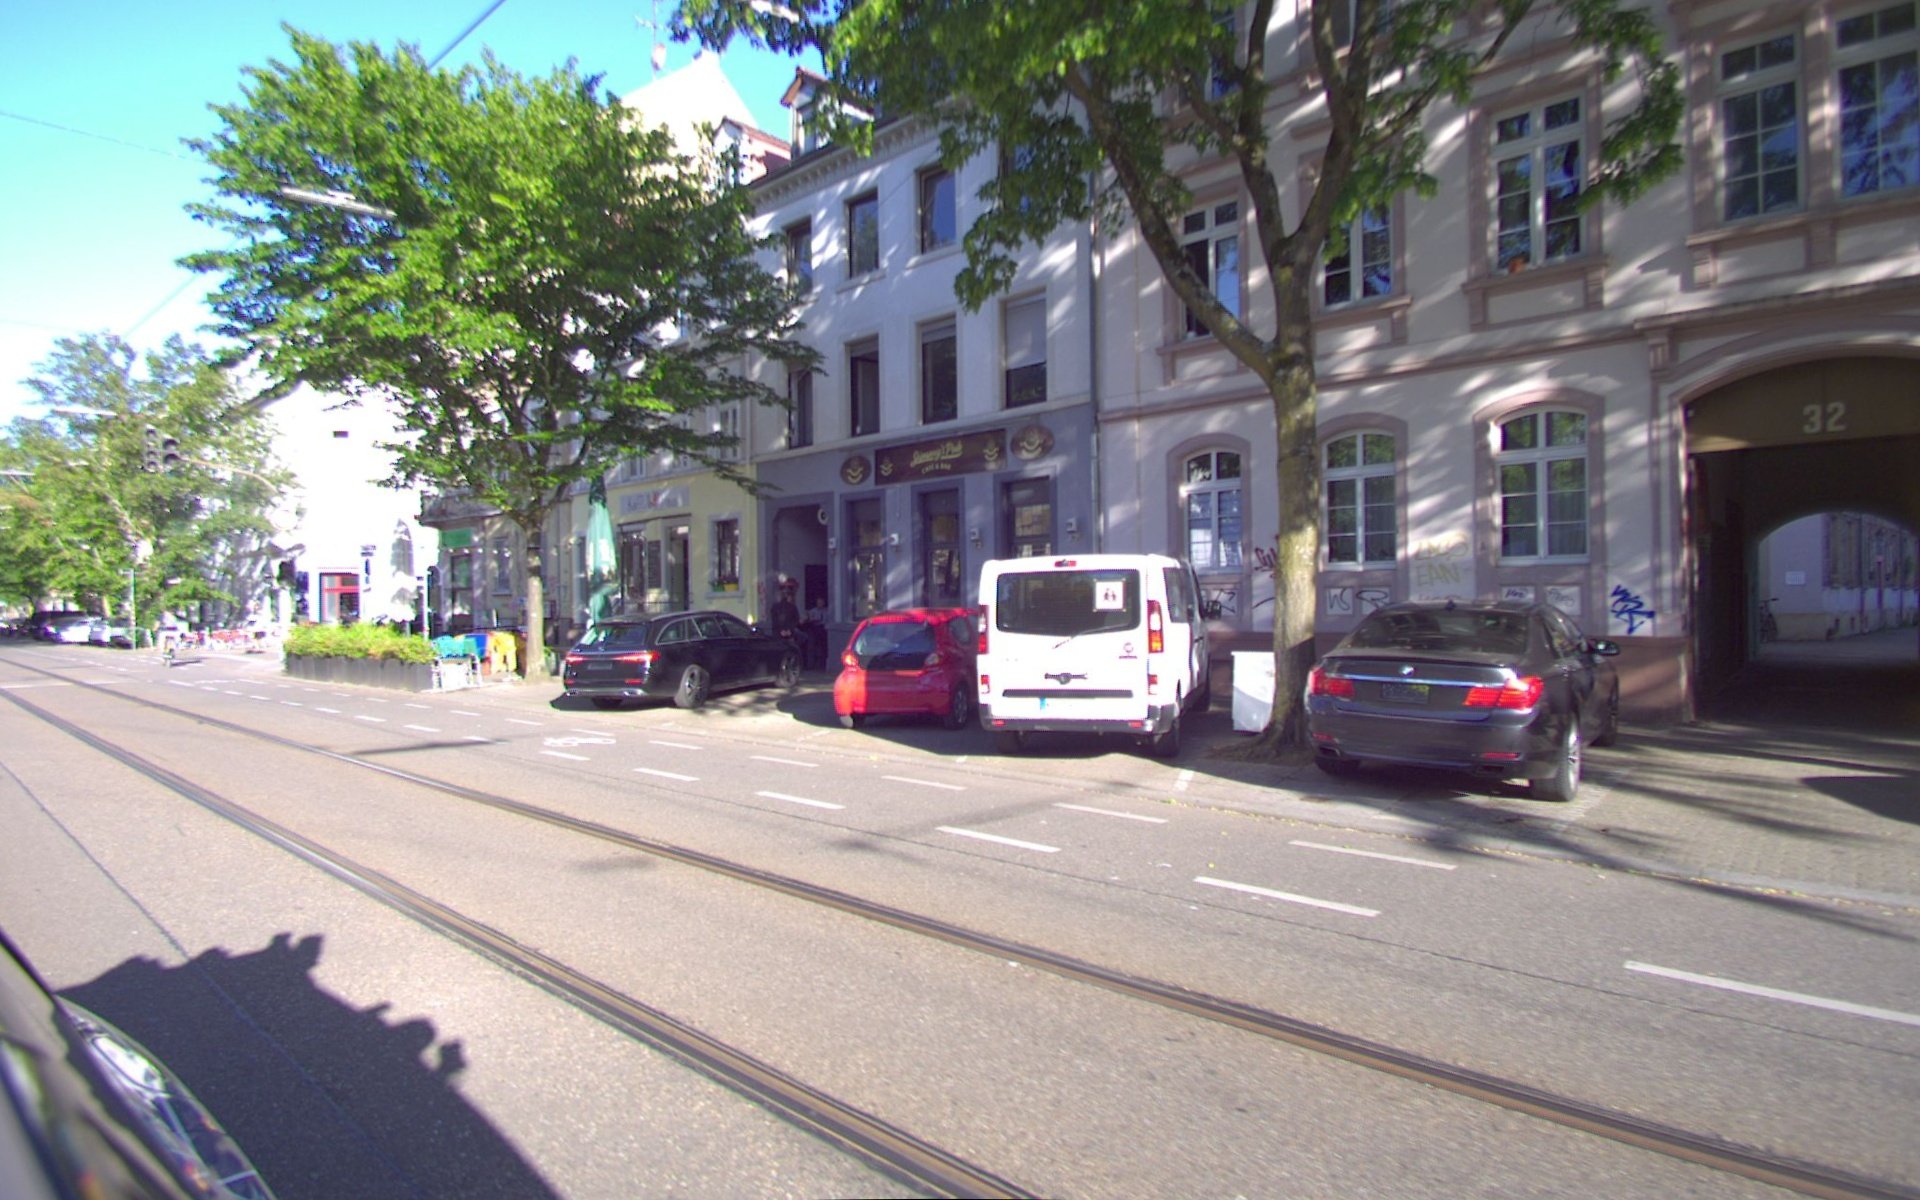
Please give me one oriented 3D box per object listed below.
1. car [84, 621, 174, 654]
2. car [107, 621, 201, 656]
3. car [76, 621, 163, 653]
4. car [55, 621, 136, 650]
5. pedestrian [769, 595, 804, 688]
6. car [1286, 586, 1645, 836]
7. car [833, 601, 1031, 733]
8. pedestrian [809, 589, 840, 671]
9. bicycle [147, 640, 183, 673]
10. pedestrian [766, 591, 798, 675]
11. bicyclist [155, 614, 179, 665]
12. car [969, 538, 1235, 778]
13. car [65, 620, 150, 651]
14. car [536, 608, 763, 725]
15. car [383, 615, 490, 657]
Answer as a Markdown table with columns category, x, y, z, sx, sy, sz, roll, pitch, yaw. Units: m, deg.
| category | x | y | z | sx | sy | sz | roll | pitch | yaw |
| --- | --- | --- | --- | --- | --- | --- | --- | --- | --- |
| car | -41.005 | 1.839 | 49.965 | 1.497 | 1.464 | 3.292 | 0 | 1 | 43 |
| car | -36.974 | 1.739 | 46.458 | 3.288 | 1.464 | 1.498 | -1 | 1 | -41 |
| car | -42.828 | 1.840 | 51.587 | 1.497 | 1.464 | 3.292 | 0 | 1 | 44 |
| car | -47.707 | 1.932 | 55.875 | 1.497 | 1.464 | 3.292 | 0 | 1 | 44 |
| pedestrian | -3.609 | 0.862 | 21.033 | 0.591 | 1.900 | 0.448 | -2 | -3 | 42 |
| car | 4.681 | 0.709 | 8.935 | 1.951 | 1.588 | 4.650 | -2 | 0 | 38 |
| car | -0.249 | 0.796 | 13.491 | 1.485 | 1.464 | 3.317 | -2 | 0 | 20 |
| pedestrian | -3.086 | 0.684 | 23.077 | 0.509 | 1.825 | 0.482 | -1 | -2 | 38 |
| bicycle | -23.710 | 1.679 | 30.177 | 1.755 | 0.943 | 0.445 | -1 | -2 | 39 |
| pedestrian | -3.948 | 0.730 | 22.442 | 0.509 | 1.825 | 0.482 | -1 | -2 | 38 |
| bicyclist | -23.620 | 1.168 | 30.127 | 0.590 | 1.482 | 0.414 | -2 | -2 | 39 |
| car | 1.834 | 0.550 | 11.265 | 2.058 | 2.029 | 4.910 | -1 | -1 | 19 |
| car | -44.741 | 1.828 | 53.143 | 1.497 | 1.464 | 3.292 | 0 | 1 | 44 |
| car | -4.787 | 0.948 | 16.236 | 1.763 | 1.570 | 3.985 | -1 | 0 | 12 |
| car | -23.021 | 1.581 | 44.528 | 3.934 | 1.763 | 2.005 | 1 | -2 | -36 |
